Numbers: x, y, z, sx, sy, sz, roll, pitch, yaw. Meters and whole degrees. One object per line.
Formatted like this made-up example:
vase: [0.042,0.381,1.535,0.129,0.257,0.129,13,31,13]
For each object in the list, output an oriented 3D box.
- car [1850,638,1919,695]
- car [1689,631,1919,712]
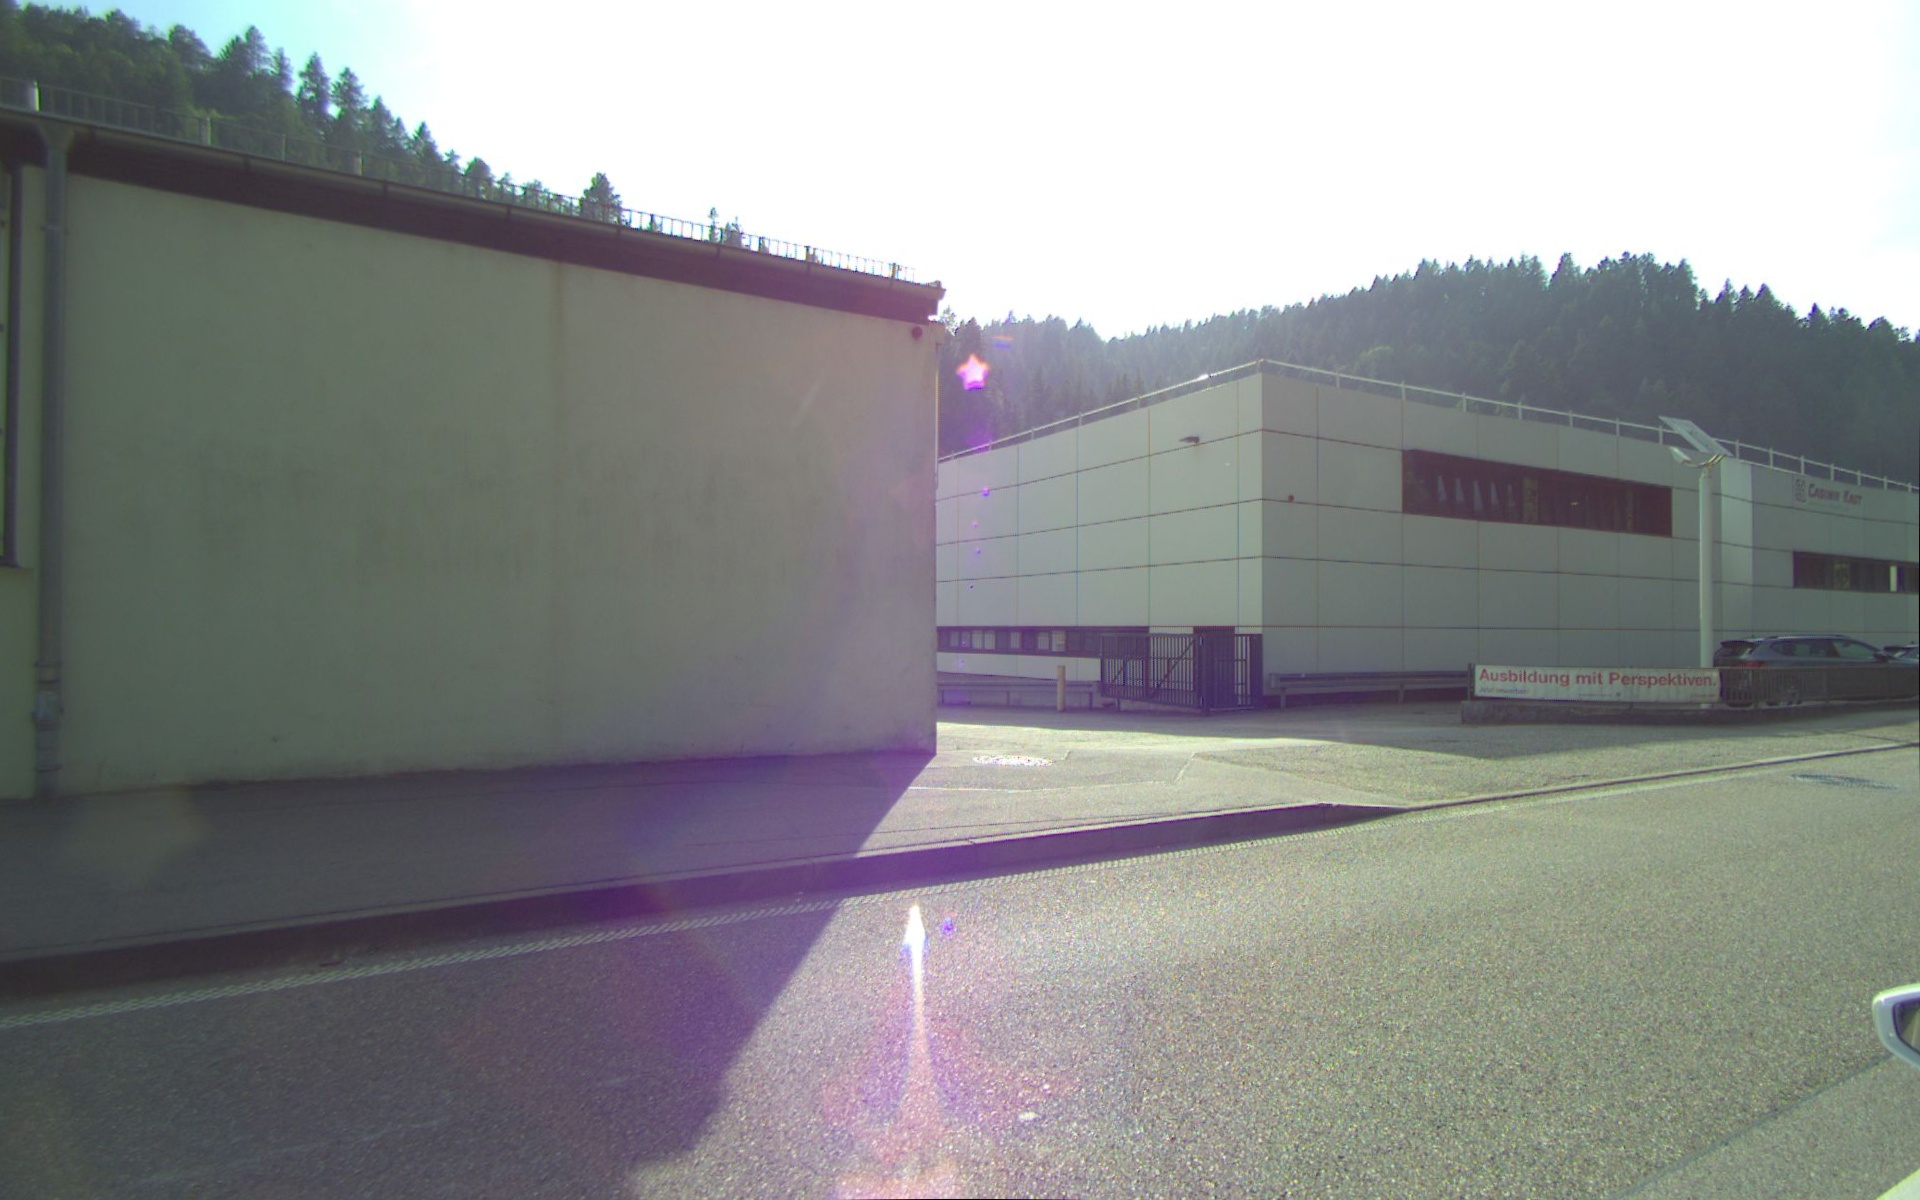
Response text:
car: [28.069,1.889,28.084,4.397,1.514,1.890,1,-1,12]
car: [18.818,1.525,22.072,4.090,1.613,1.890,1,-1,12]
